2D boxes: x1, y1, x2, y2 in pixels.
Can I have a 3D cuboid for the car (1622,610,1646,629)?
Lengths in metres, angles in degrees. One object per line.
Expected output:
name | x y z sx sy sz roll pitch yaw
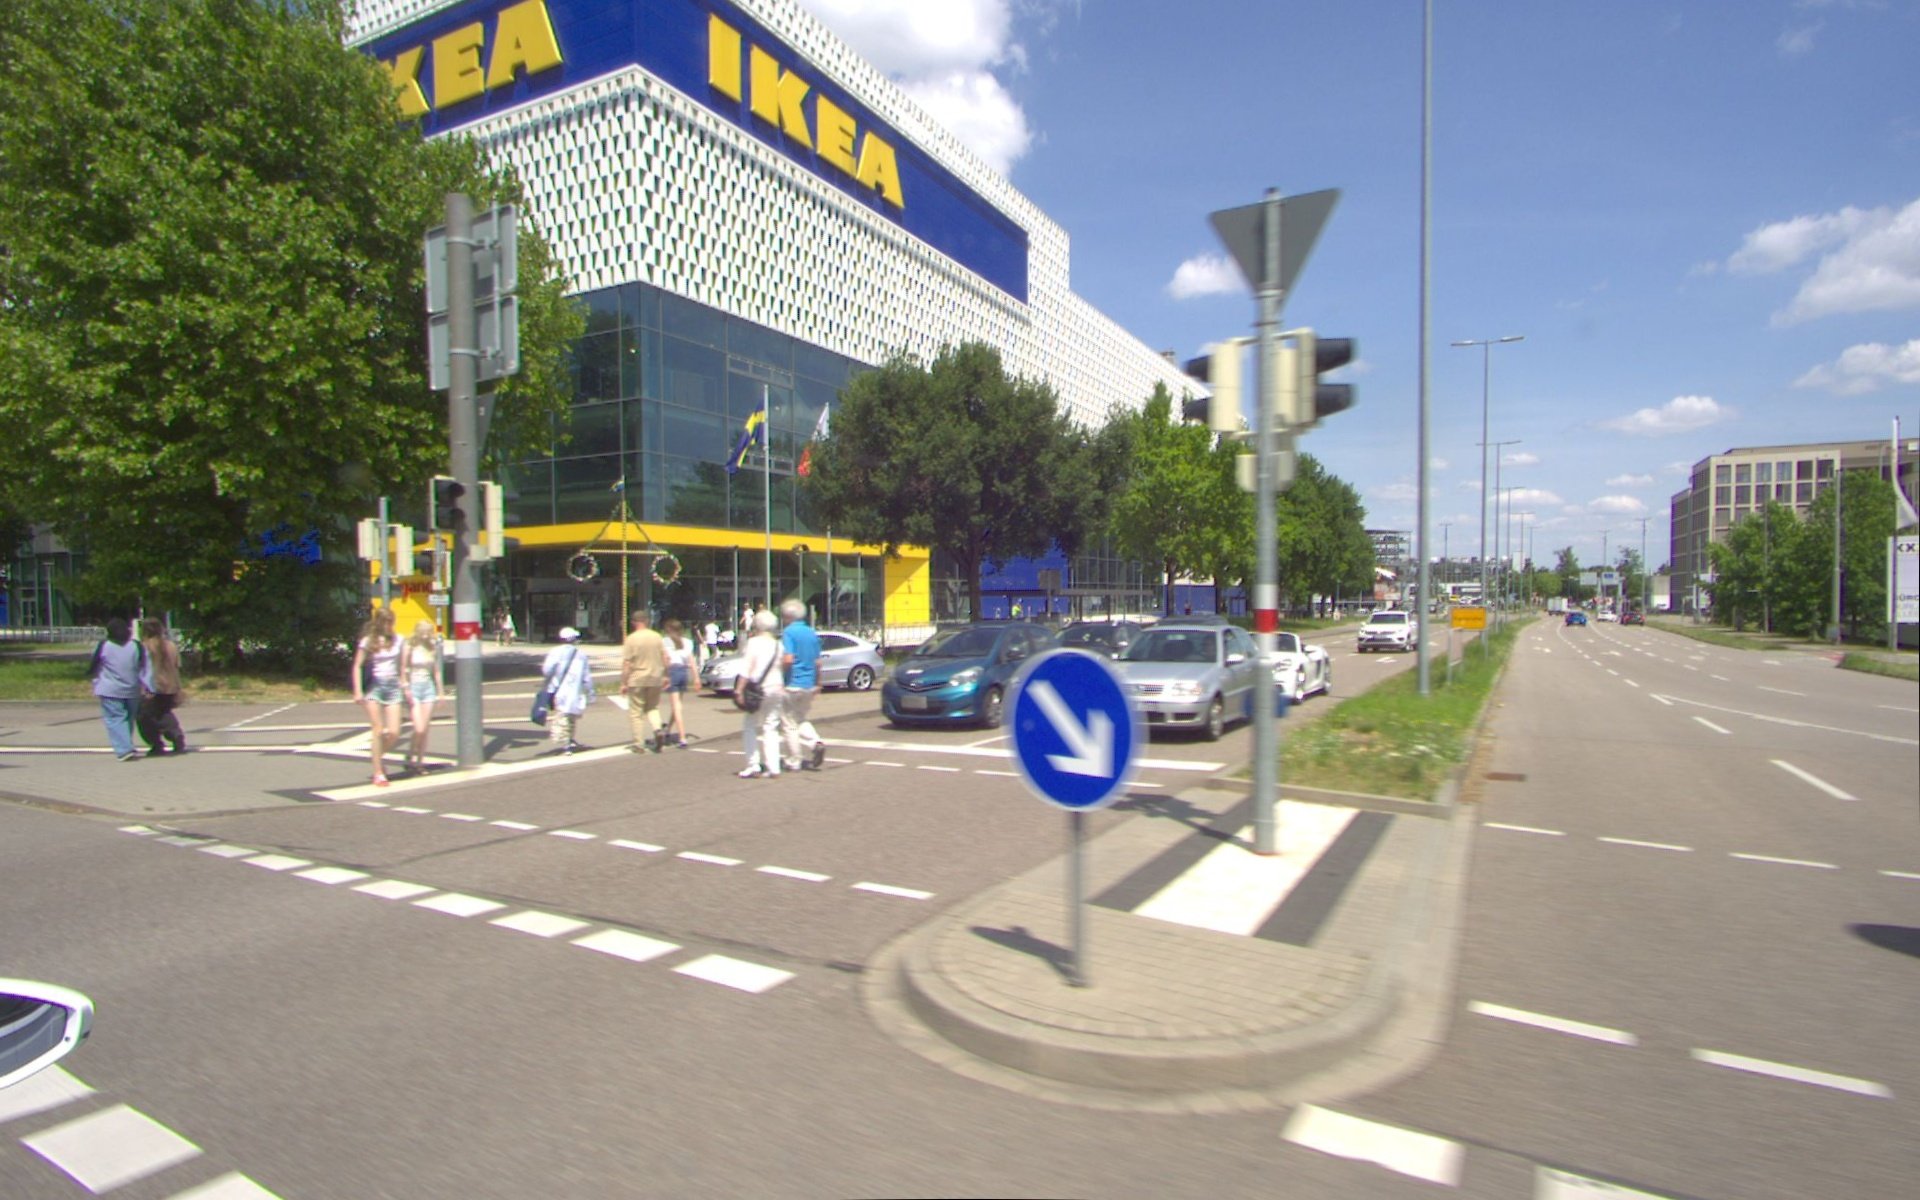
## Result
car | 75.755 2.181 112.574 1.970 2.040 3.982 0 -1 30

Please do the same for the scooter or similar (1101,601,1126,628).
scooter or similar | 7.484 0.701 48.786 1.119 1.337 0.400 0 0 32

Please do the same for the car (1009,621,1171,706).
car | 2.705 1.193 19.877 1.824 1.461 4.400 0 -2 27

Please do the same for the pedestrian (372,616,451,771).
pedestrian | -5.870 0.977 10.723 0.603 1.600 0.526 0 0 33

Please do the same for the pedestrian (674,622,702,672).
pedestrian | -8.848 1.527 32.583 0.623 1.607 0.610 0 0 23

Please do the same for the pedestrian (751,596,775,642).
pedestrian | -8.860 0.862 45.126 0.723 2.040 0.794 0 0 37

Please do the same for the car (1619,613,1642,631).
car | 78.426 2.594 117.120 1.970 2.040 3.982 0 -1 30

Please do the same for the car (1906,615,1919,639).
car | 70.084 1.920 71.107 3.945 1.705 1.989 -1 -1 34

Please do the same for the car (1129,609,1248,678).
car | 5.923 1.071 25.571 1.835 1.605 4.397 -1 -1 29

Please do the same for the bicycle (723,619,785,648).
bicycle | -8.404 1.377 40.932 2.388 1.160 0.801 0 0 15

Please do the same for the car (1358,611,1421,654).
car | 17.722 1.286 41.218 1.970 1.661 4.064 0 -1 30

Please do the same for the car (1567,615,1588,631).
car | 63.743 2.333 103.447 1.735 1.632 3.533 -1 -1 30

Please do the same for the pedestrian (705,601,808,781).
pedestrian | -1.986 0.858 9.731 0.602 1.658 0.856 0 -2 -44

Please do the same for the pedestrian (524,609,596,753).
pedestrian | -4.869 0.950 12.179 0.785 1.681 0.849 0 0 -24

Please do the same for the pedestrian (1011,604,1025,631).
pedestrian | 3.340 1.010 57.991 0.570 1.607 0.766 0 0 23

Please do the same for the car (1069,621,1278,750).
car | 2.978 1.003 13.367 1.775 1.415 3.821 0 -1 28

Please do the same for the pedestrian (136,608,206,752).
pedestrian | -9.717 0.951 12.324 0.619 1.705 0.719 0 0 -44

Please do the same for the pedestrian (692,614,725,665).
pedestrian | -8.178 1.277 32.559 0.623 1.607 0.918 0 0 23

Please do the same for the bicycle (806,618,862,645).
bicycle | -5.669 1.423 45.172 2.388 1.214 0.801 0 0 15

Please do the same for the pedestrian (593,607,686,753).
pedestrian | -3.874 0.934 12.101 0.790 1.681 0.844 0 0 -44

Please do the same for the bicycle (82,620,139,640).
bicycle | -43.992 1.544 51.880 0.854 0.981 2.060 0 0 24

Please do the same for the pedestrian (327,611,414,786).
pedestrian | -5.891 0.953 10.003 0.631 1.687 0.526 0 0 33

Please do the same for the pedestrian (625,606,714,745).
pedestrian | -3.683 0.929 12.685 0.790 1.681 0.844 0 0 -44

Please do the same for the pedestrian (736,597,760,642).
pedestrian | -9.715 0.889 45.858 0.724 2.040 0.793 0 0 41

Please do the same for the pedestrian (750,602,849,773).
pedestrian | -1.645 0.873 10.242 0.598 1.658 0.856 0 -2 -44

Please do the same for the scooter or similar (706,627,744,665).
scooter or similar | -7.764 1.499 33.109 0.717 1.214 1.073 0 -1 27

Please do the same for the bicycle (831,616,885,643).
bicycle | -4.729 1.351 46.505 2.388 1.214 0.801 0 0 15

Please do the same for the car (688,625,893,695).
car | -3.747 1.297 22.515 4.272 1.436 1.719 1 -2 -39

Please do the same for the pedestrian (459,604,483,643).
pedestrian | -22.235 1.066 45.510 0.732 1.758 0.777 0 0 41

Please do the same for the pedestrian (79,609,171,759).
pedestrian | -9.580 0.923 11.482 0.760 1.627 0.888 0 0 -44

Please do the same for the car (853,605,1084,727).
car | 0.282 0.915 15.243 1.968 1.575 3.986 -1 -1 27

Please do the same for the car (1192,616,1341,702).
car | 5.836 1.050 18.734 1.777 1.416 4.215 -1 -2 30

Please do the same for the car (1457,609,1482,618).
car | 93.115 2.461 182.900 3.622 1.632 1.800 0 -1 5
